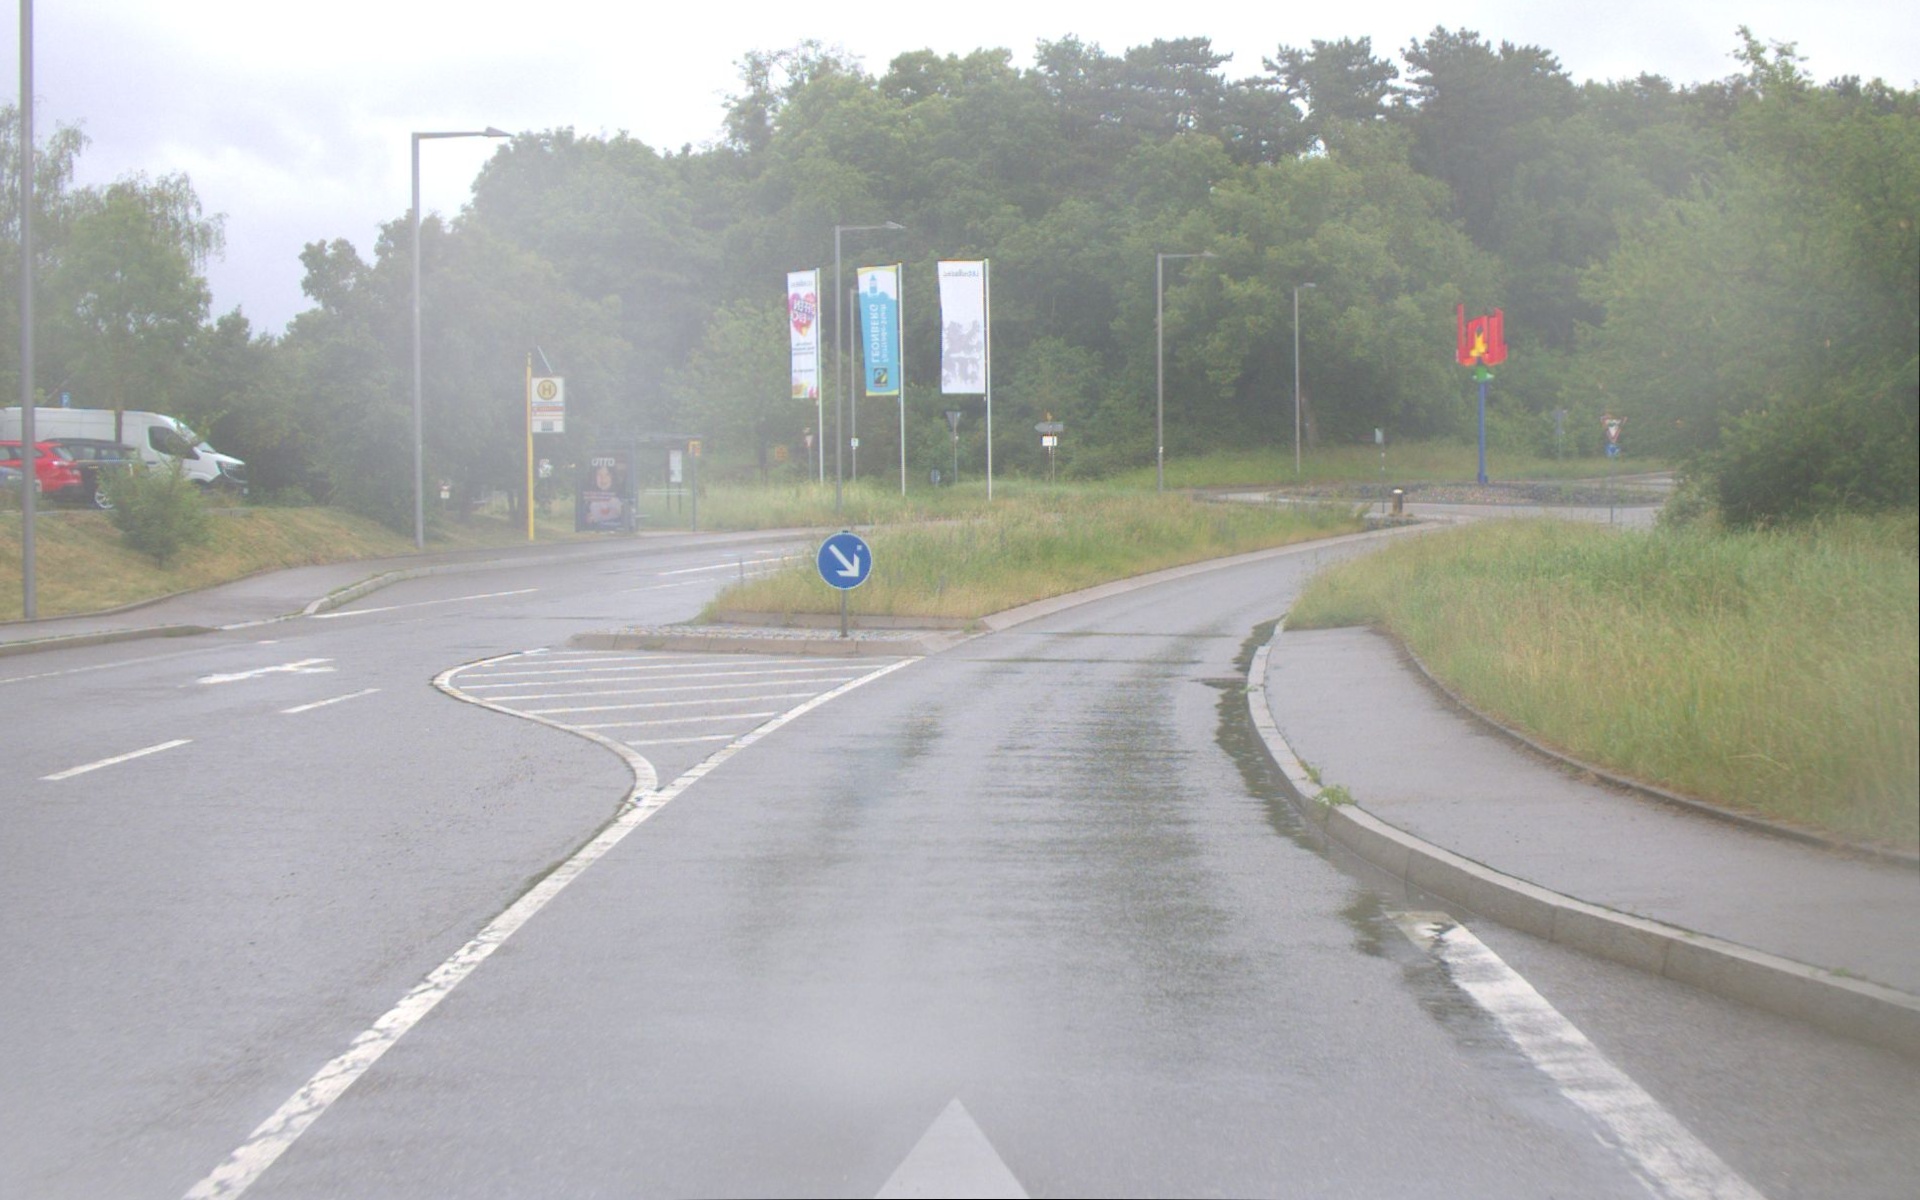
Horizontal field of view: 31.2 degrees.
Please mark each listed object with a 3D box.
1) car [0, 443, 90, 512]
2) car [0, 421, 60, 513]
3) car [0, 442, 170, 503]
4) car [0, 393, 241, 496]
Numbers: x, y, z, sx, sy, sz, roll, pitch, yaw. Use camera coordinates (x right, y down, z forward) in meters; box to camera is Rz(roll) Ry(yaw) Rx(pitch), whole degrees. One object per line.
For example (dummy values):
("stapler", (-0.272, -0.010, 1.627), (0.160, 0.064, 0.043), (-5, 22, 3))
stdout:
("car", (-21.228, -2.667, 74.950), (3.987, 1.464, 1.848), (0, 2, 5))
("car", (-19.490, -2.496, 64.340), (4.707, 1.687, 2.005), (0, 2, 4))
("car", (-20.204, -2.895, 78.089), (3.988, 1.359, 1.847), (0, 2, 7))
("car", (-21.501, -3.879, 85.919), (6.555, 2.389, 2.139), (1, 1, 1))
